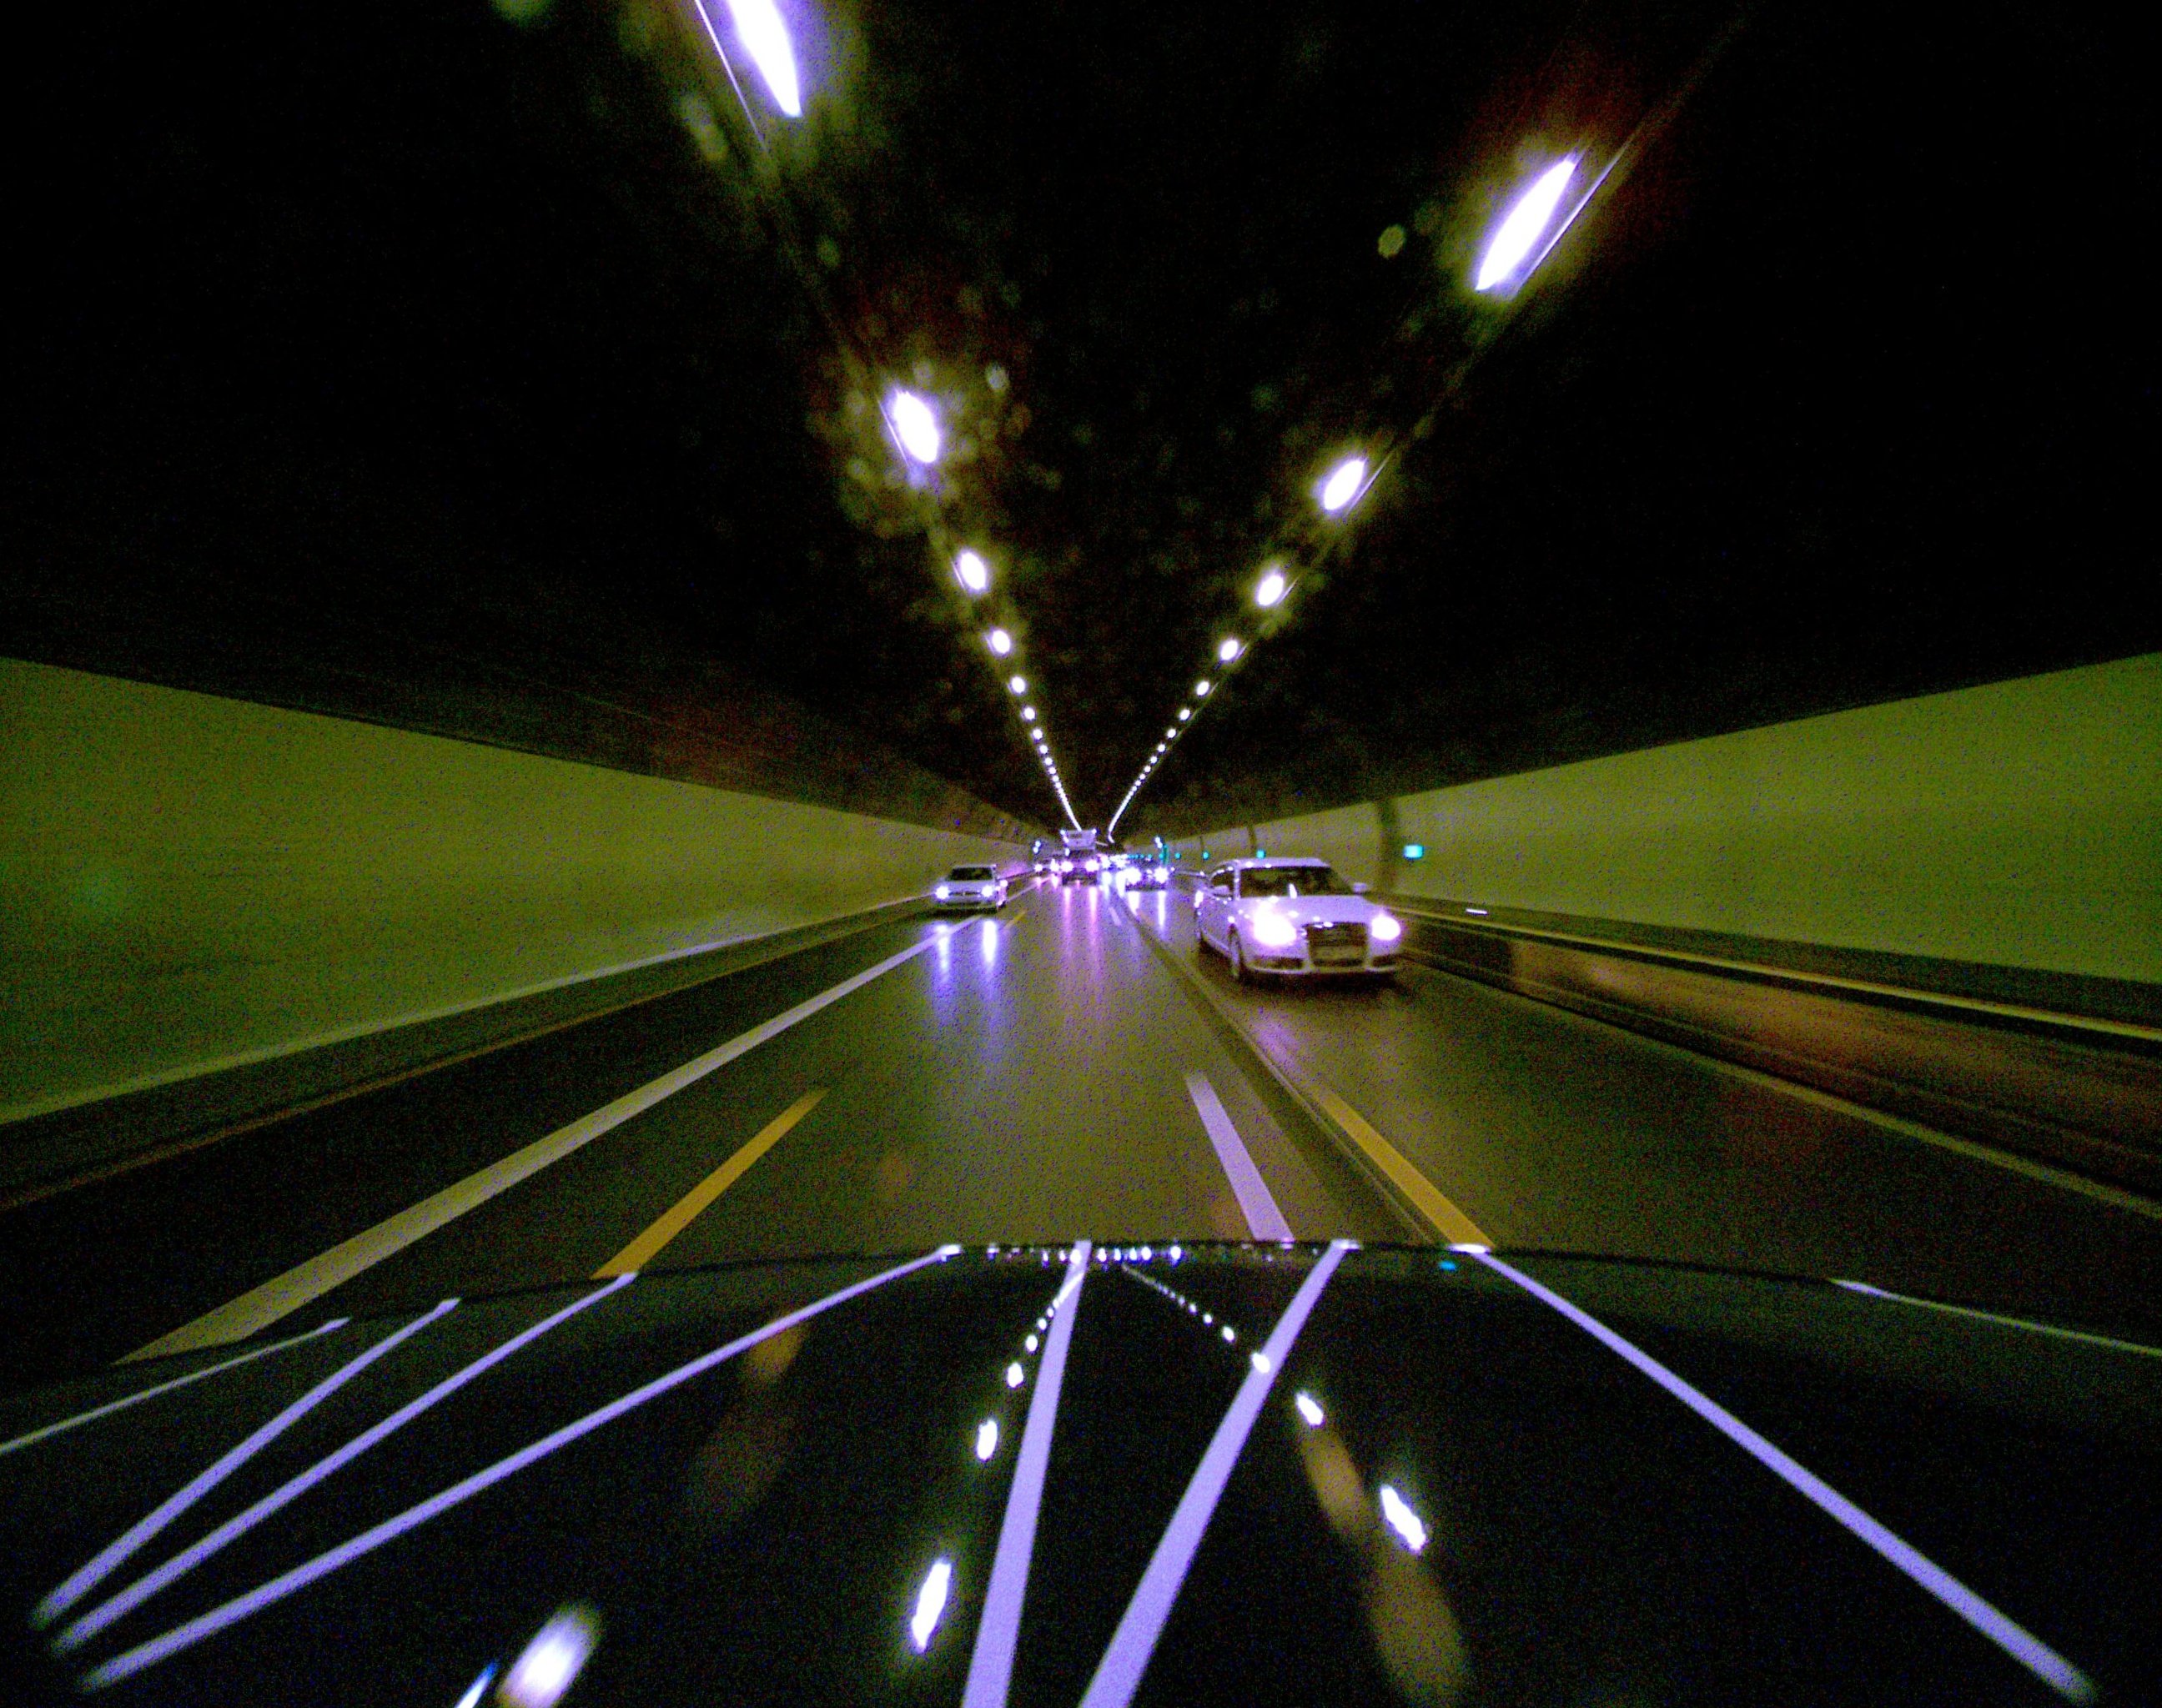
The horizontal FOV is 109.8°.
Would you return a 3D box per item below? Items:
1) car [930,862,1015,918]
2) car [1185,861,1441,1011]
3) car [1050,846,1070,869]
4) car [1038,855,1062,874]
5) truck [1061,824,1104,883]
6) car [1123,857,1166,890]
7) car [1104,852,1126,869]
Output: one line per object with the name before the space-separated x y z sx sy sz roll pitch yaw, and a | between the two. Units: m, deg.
car | -3.211 1.034 23.255 1.801 1.452 4.035 -2 0 2
car | 2.702 0.860 10.200 1.908 1.476 4.943 -1 0 0
car | -2.640 0.427 96.968 2.124 2.629 6.229 -3 1 0
car | -2.750 0.935 68.528 1.958 1.527 4.757 -3 1 0
truck | 0.104 -0.038 46.425 2.262 3.238 7.382 -2 0 0
car | 2.871 0.865 35.063 1.657 1.395 3.656 -1 0 0
car | 3.581 0.700 79.987 1.958 1.527 4.757 -5 1 0
